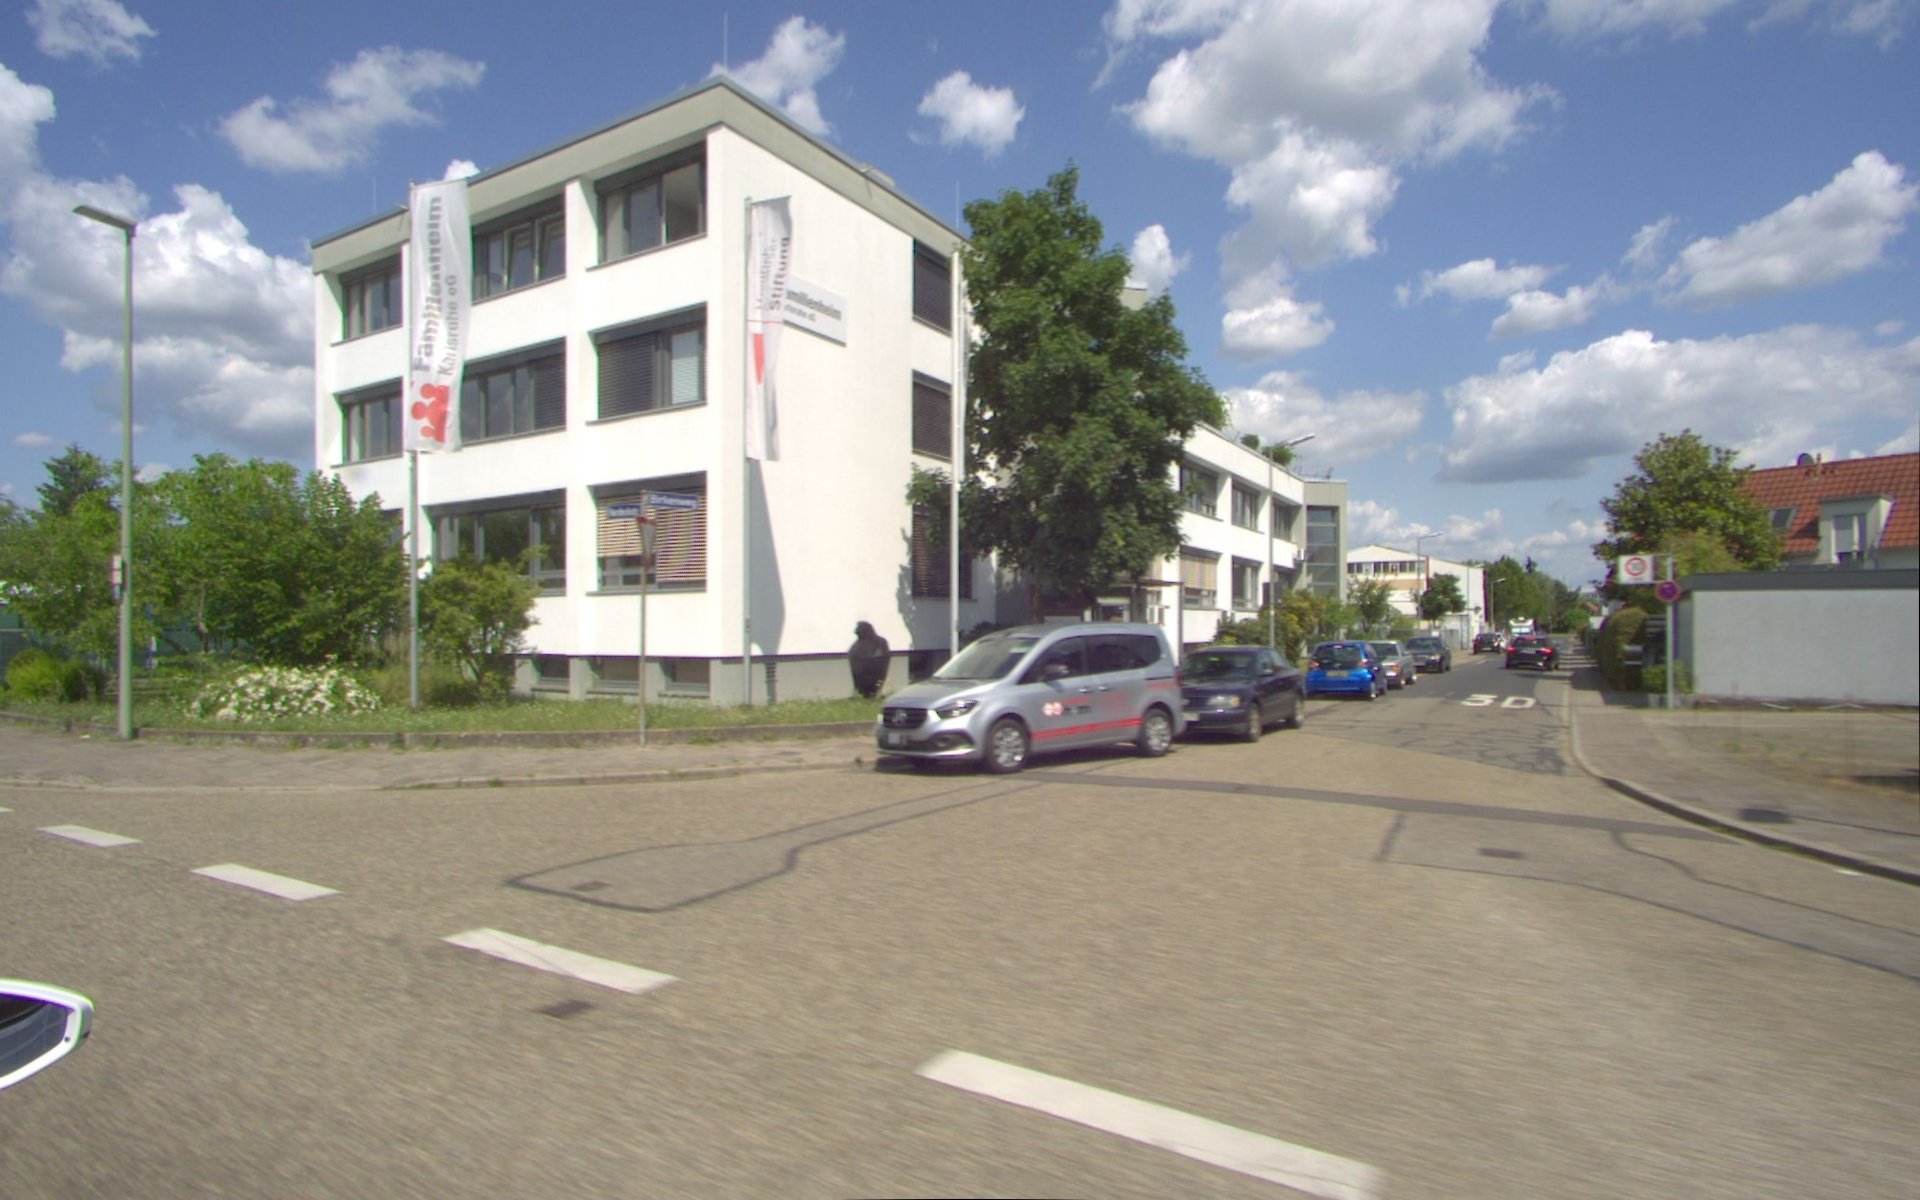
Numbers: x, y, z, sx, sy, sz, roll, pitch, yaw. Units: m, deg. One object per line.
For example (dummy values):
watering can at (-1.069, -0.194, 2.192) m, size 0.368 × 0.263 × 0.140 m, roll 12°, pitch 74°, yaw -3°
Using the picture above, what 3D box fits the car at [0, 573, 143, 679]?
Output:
car at (-25.126, 0.695, 26.590) m, size 2.039 × 2.686 × 4.909 m, roll 0°, pitch -2°, yaw 25°

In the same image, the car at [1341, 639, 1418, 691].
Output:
car at (12.587, 1.880, 29.895) m, size 1.593 × 1.416 × 4.236 m, roll -1°, pitch -2°, yaw 30°

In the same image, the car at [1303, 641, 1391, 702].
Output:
car at (9.902, 1.759, 25.493) m, size 1.593 × 1.416 × 3.350 m, roll -1°, pitch -2°, yaw 30°

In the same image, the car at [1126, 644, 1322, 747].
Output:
car at (4.546, 1.486, 16.715) m, size 1.735 × 1.445 × 4.603 m, roll -3°, pitch -3°, yaw 34°

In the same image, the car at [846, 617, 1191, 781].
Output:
car at (0.870, 1.175, 12.974) m, size 4.361 × 1.773 × 1.851 m, roll 1°, pitch -4°, yaw -40°

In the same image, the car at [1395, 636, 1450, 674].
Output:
car at (18.392, 2.132, 39.769) m, size 1.593 × 1.416 × 4.236 m, roll -1°, pitch -2°, yaw 30°

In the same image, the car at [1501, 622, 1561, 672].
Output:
car at (24.227, 1.972, 42.435) m, size 1.971 × 1.947 × 3.980 m, roll 2°, pitch 0°, yaw 33°

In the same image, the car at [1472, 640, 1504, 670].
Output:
car at (36.832, 3.793, 69.831) m, size 1.669 × 1.995 × 3.979 m, roll -1°, pitch -1°, yaw 33°
